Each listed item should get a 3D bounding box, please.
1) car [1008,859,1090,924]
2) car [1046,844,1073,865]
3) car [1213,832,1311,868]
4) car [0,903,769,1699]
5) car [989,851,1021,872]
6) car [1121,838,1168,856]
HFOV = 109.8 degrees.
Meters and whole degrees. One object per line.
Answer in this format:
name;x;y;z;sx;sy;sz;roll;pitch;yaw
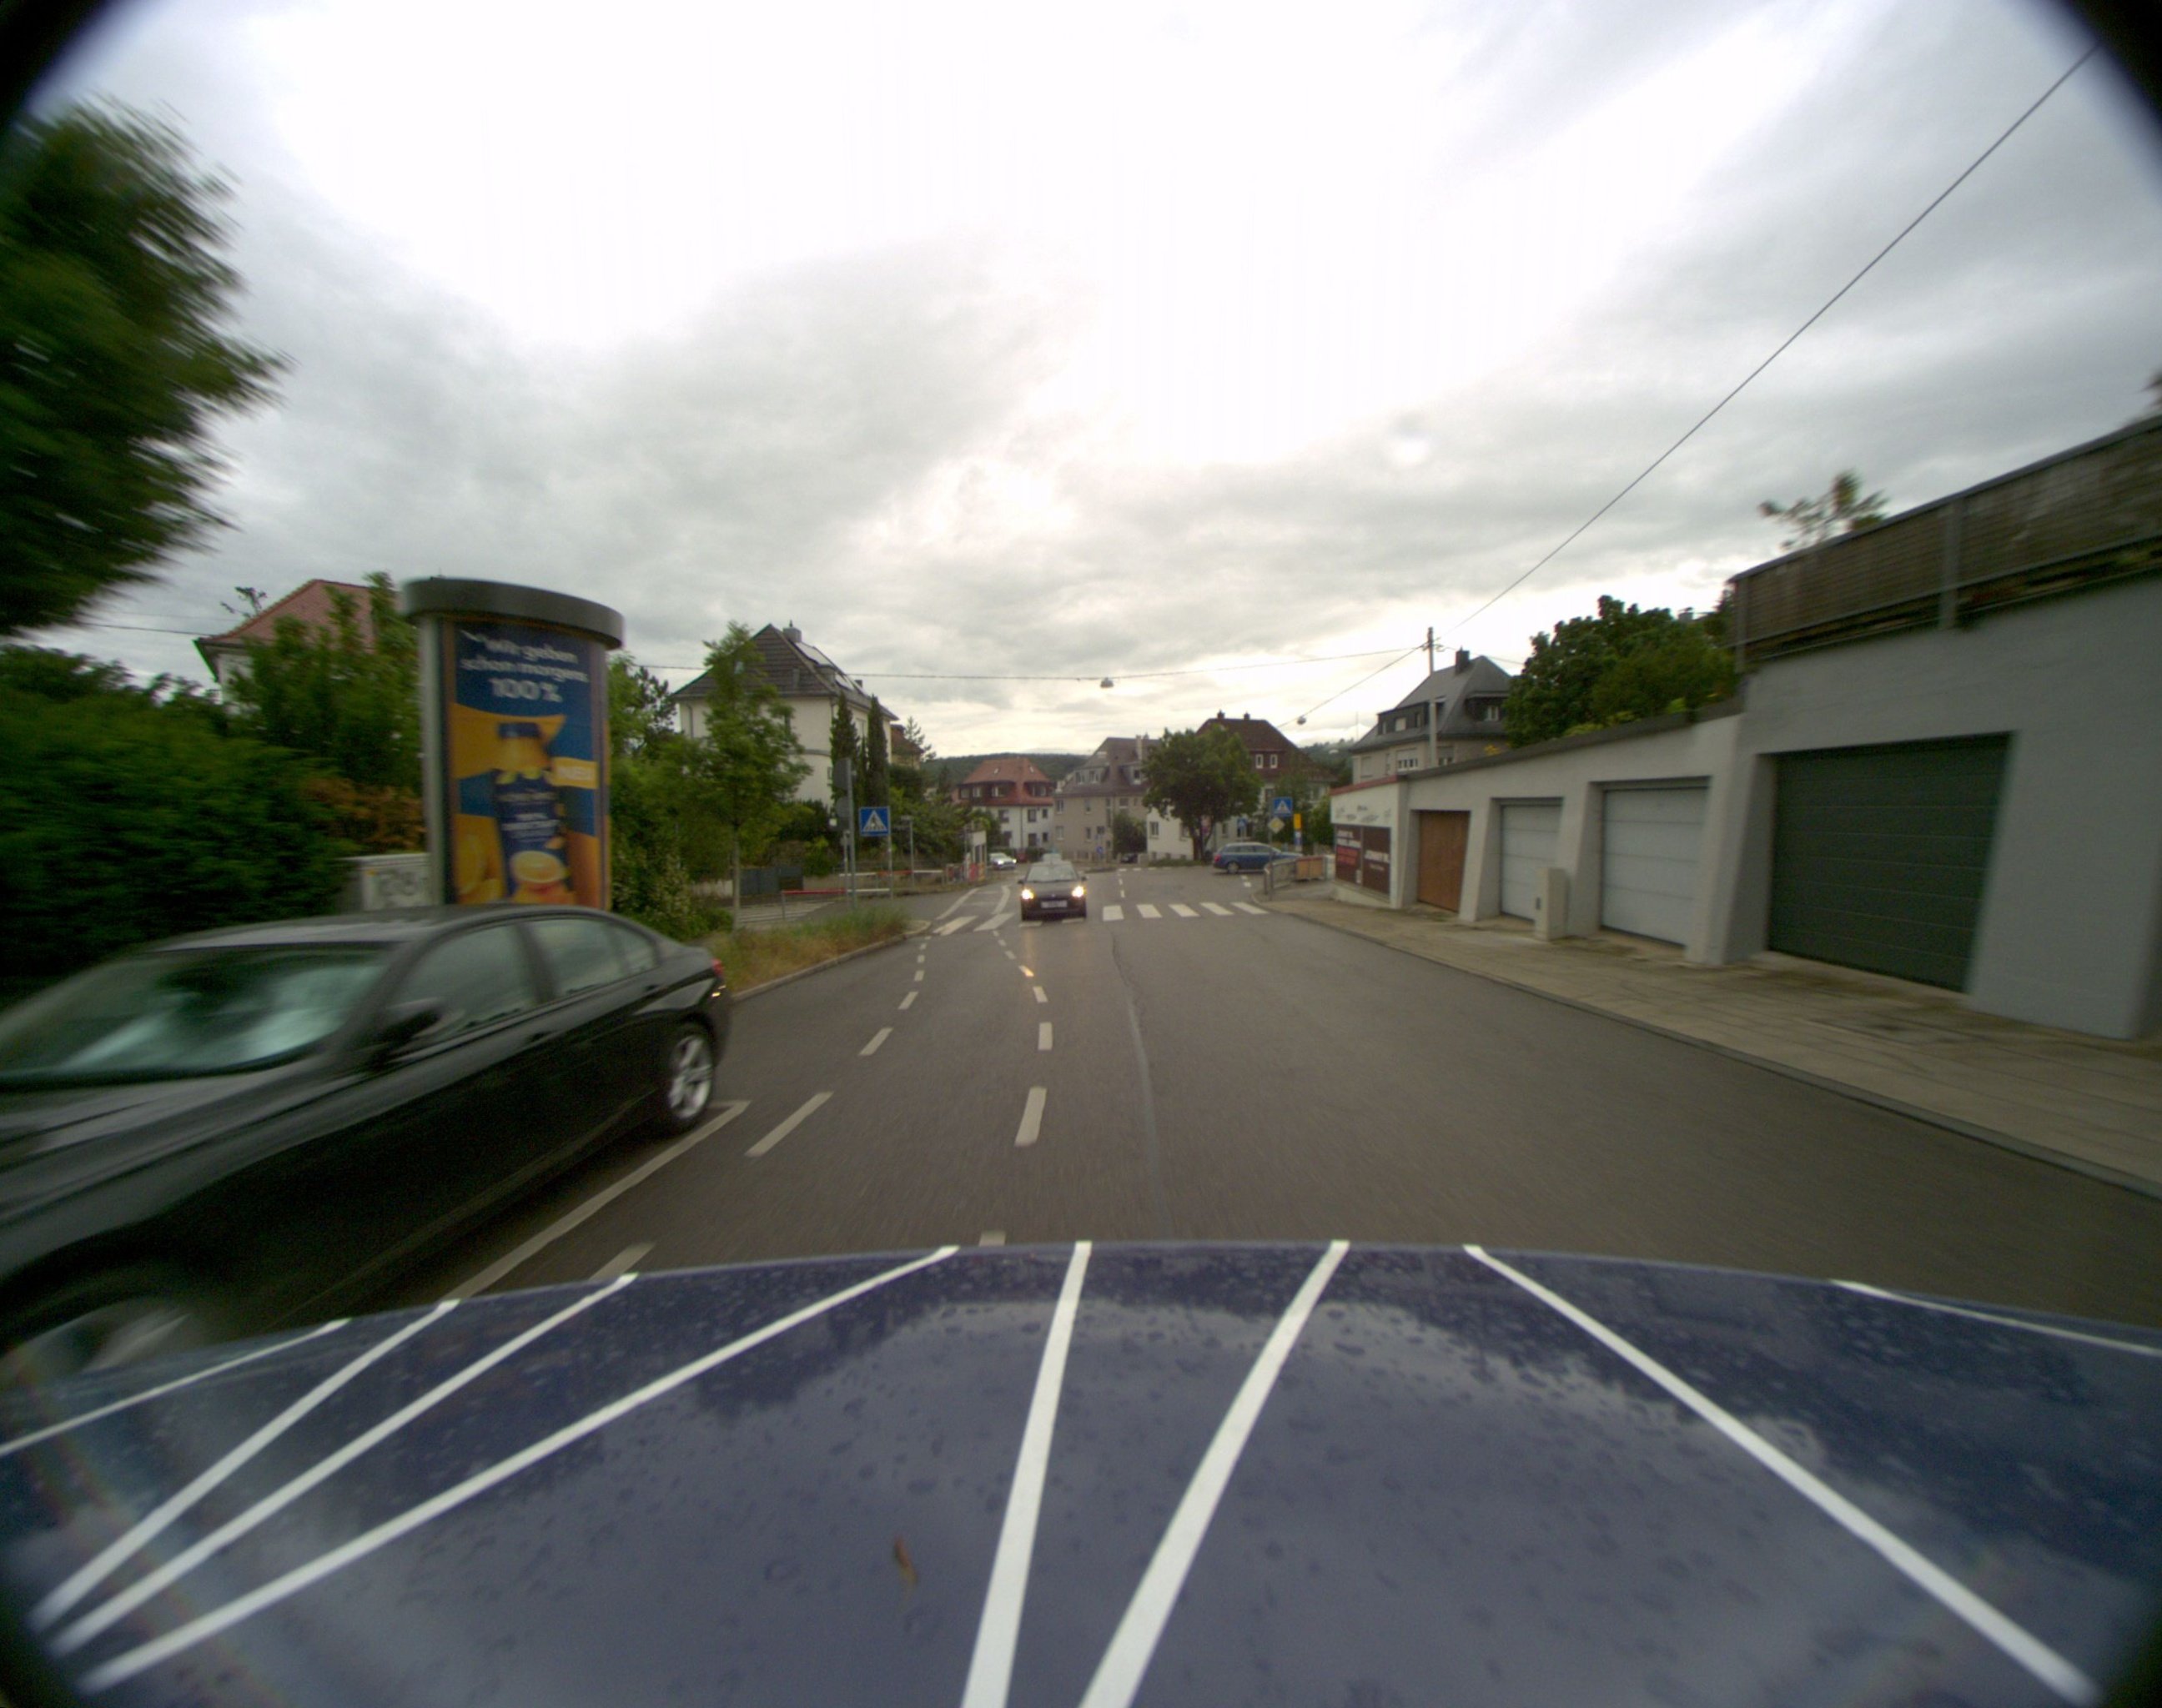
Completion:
car;-0.765;0.947;20.737;1.892;1.521;4.057;-1;0;2
car;-1.713;0.036;60.978;1.857;1.576;4.000;-1;0;2
car;8.750;-0.210;37.146;4.481;1.479;2.000;-2;4;8
car;-3.214;1.106;3.149;1.783;1.430;4.881;-2;0;0
car;-7.446;0.721;74.276;2.019;1.892;4.087;-1;0;-23
car;6.269;-0.717;75.370;4.226;1.663;1.875;-2;1;-19
